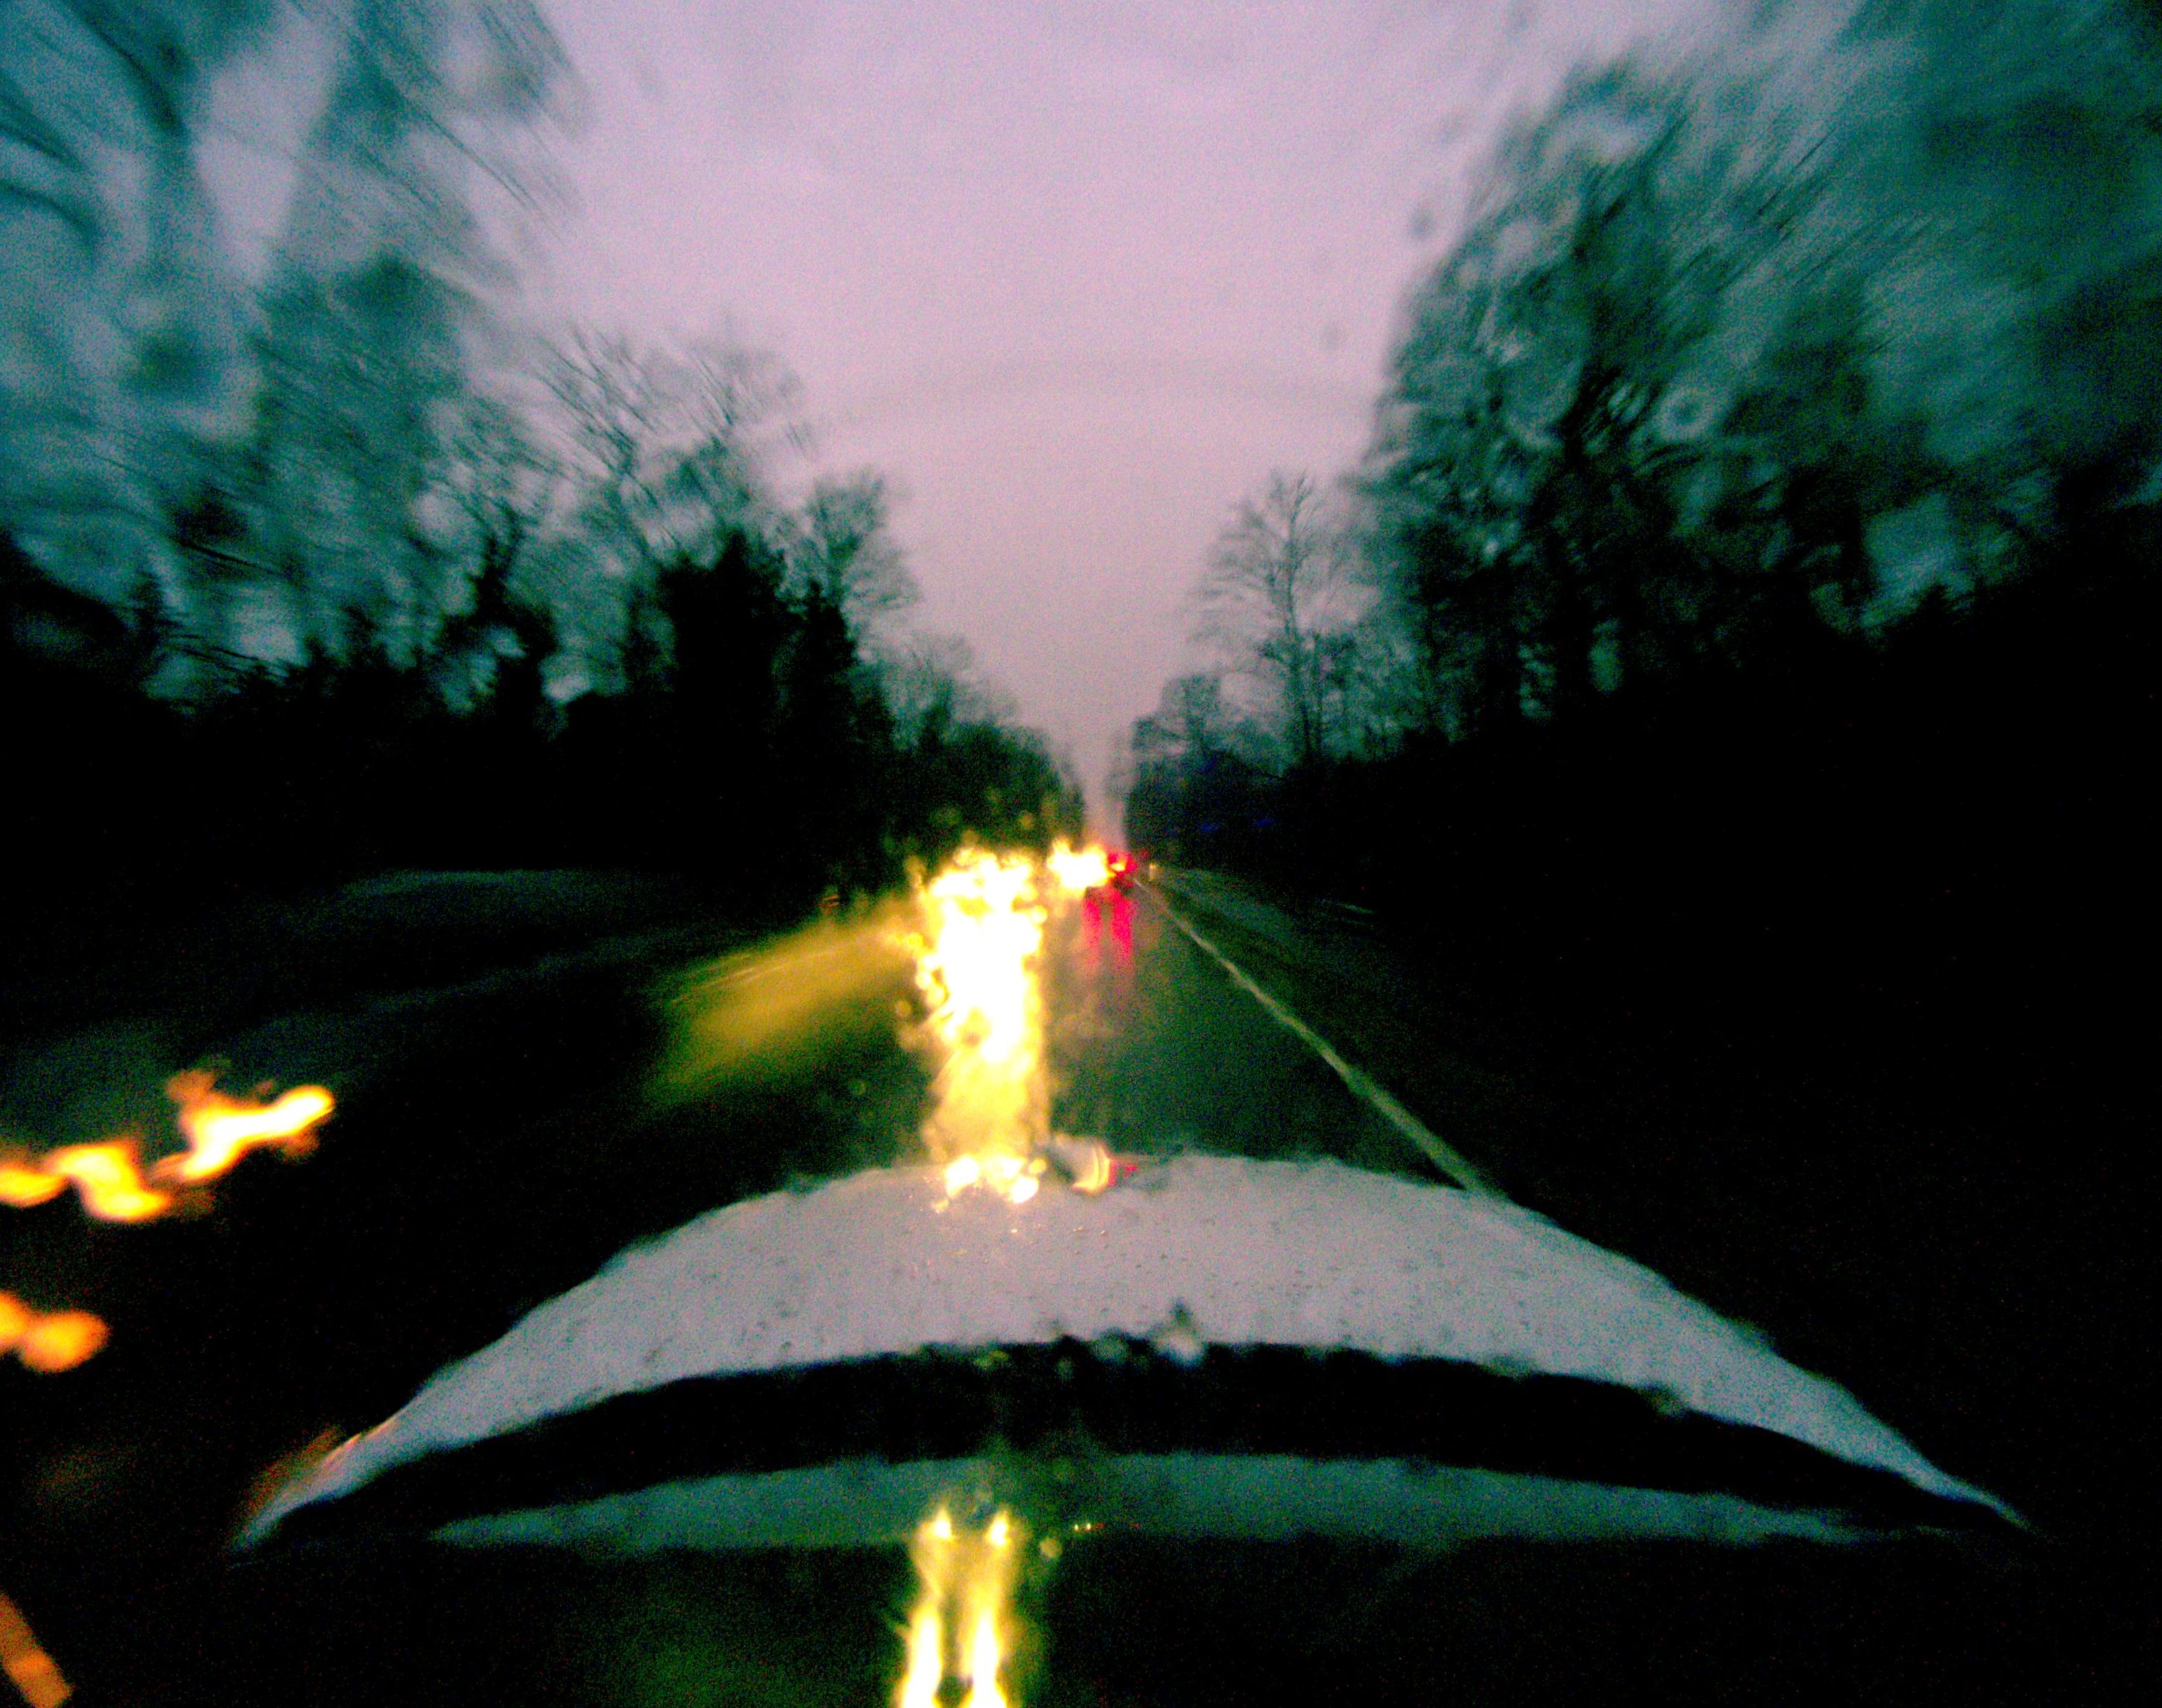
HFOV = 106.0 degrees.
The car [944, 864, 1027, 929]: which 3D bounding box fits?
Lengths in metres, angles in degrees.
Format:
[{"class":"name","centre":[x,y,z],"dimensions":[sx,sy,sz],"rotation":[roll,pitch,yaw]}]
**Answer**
[{"class":"car","centre":[-2.930,1.266,25.975],"dimensions":[1.815,1.649,4.752],"rotation":[-4,1,2]}]

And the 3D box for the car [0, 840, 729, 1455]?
[{"class":"car","centre":[-3.590,0.815,4.072],"dimensions":[1.793,1.600,3.863],"rotation":[-3,0,2]}]

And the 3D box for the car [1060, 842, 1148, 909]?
[{"class":"car","centre":[0.985,0.799,32.695],"dimensions":[3.170,2.386,6.640],"rotation":[-1,0,3]}]

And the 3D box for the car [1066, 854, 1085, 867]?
[{"class":"car","centre":[-0.722,0.889,106.687],"dimensions":[1.966,1.568,4.932],"rotation":[-3,0,4]}]
